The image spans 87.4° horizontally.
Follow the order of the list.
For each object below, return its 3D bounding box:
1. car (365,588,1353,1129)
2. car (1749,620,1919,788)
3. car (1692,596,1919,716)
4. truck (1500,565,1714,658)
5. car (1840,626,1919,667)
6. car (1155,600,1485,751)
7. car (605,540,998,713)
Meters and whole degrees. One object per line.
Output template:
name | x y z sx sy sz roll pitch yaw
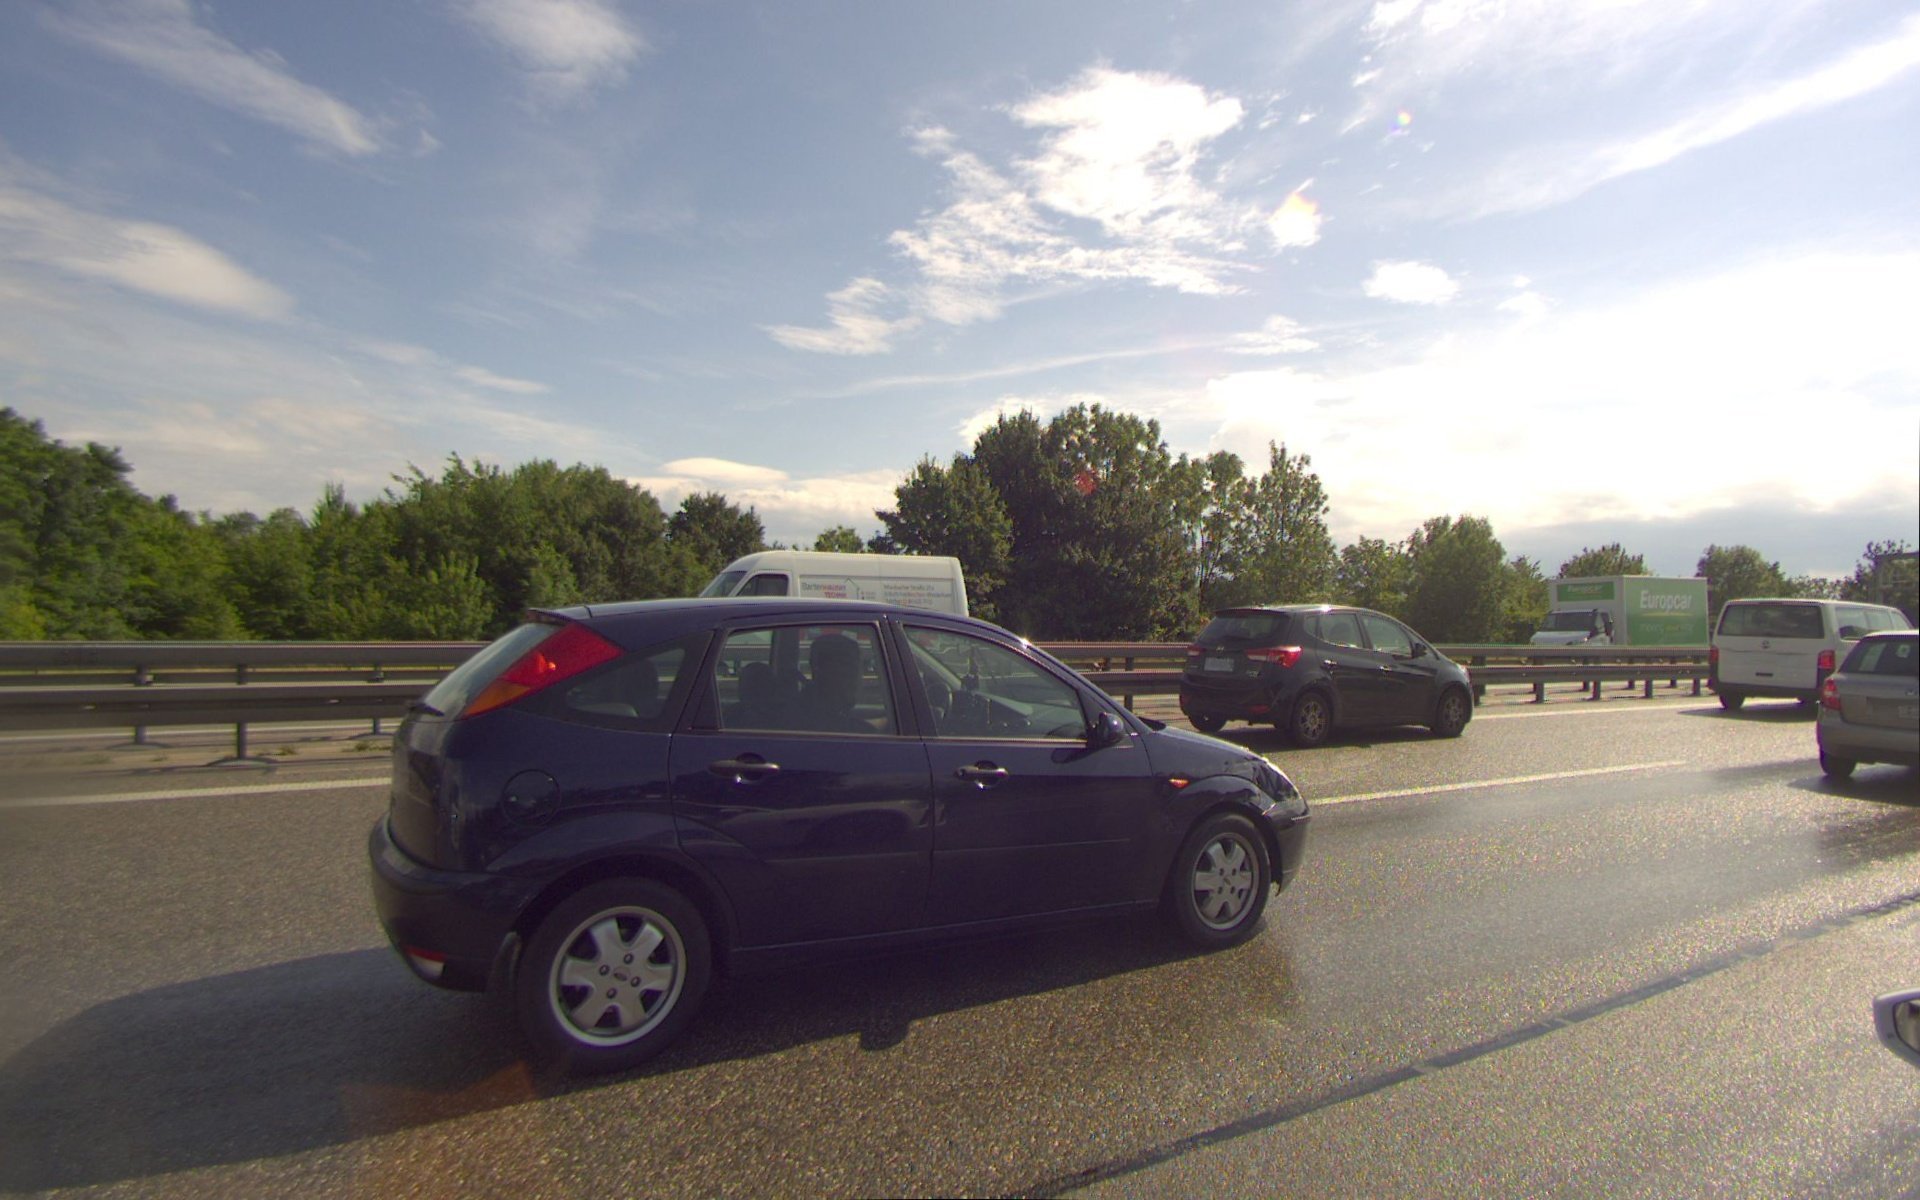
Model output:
car | -0.307 0.738 4.473 3.953 1.462 1.750 1 0 -30
car | 10.107 0.987 10.242 3.781 1.477 1.978 1 0 -30
car | 15.636 0.961 18.399 4.959 1.959 1.838 1 0 -31
truck | 23.345 0.491 36.063 8.621 3.027 2.901 2 0 -31
car | 36.820 1.845 39.958 3.956 1.506 1.688 2 0 -32
car | 4.495 0.853 12.450 3.869 1.599 1.775 1 0 -30
car | -2.485 0.433 16.515 6.032 2.428 2.103 1 0 -31
